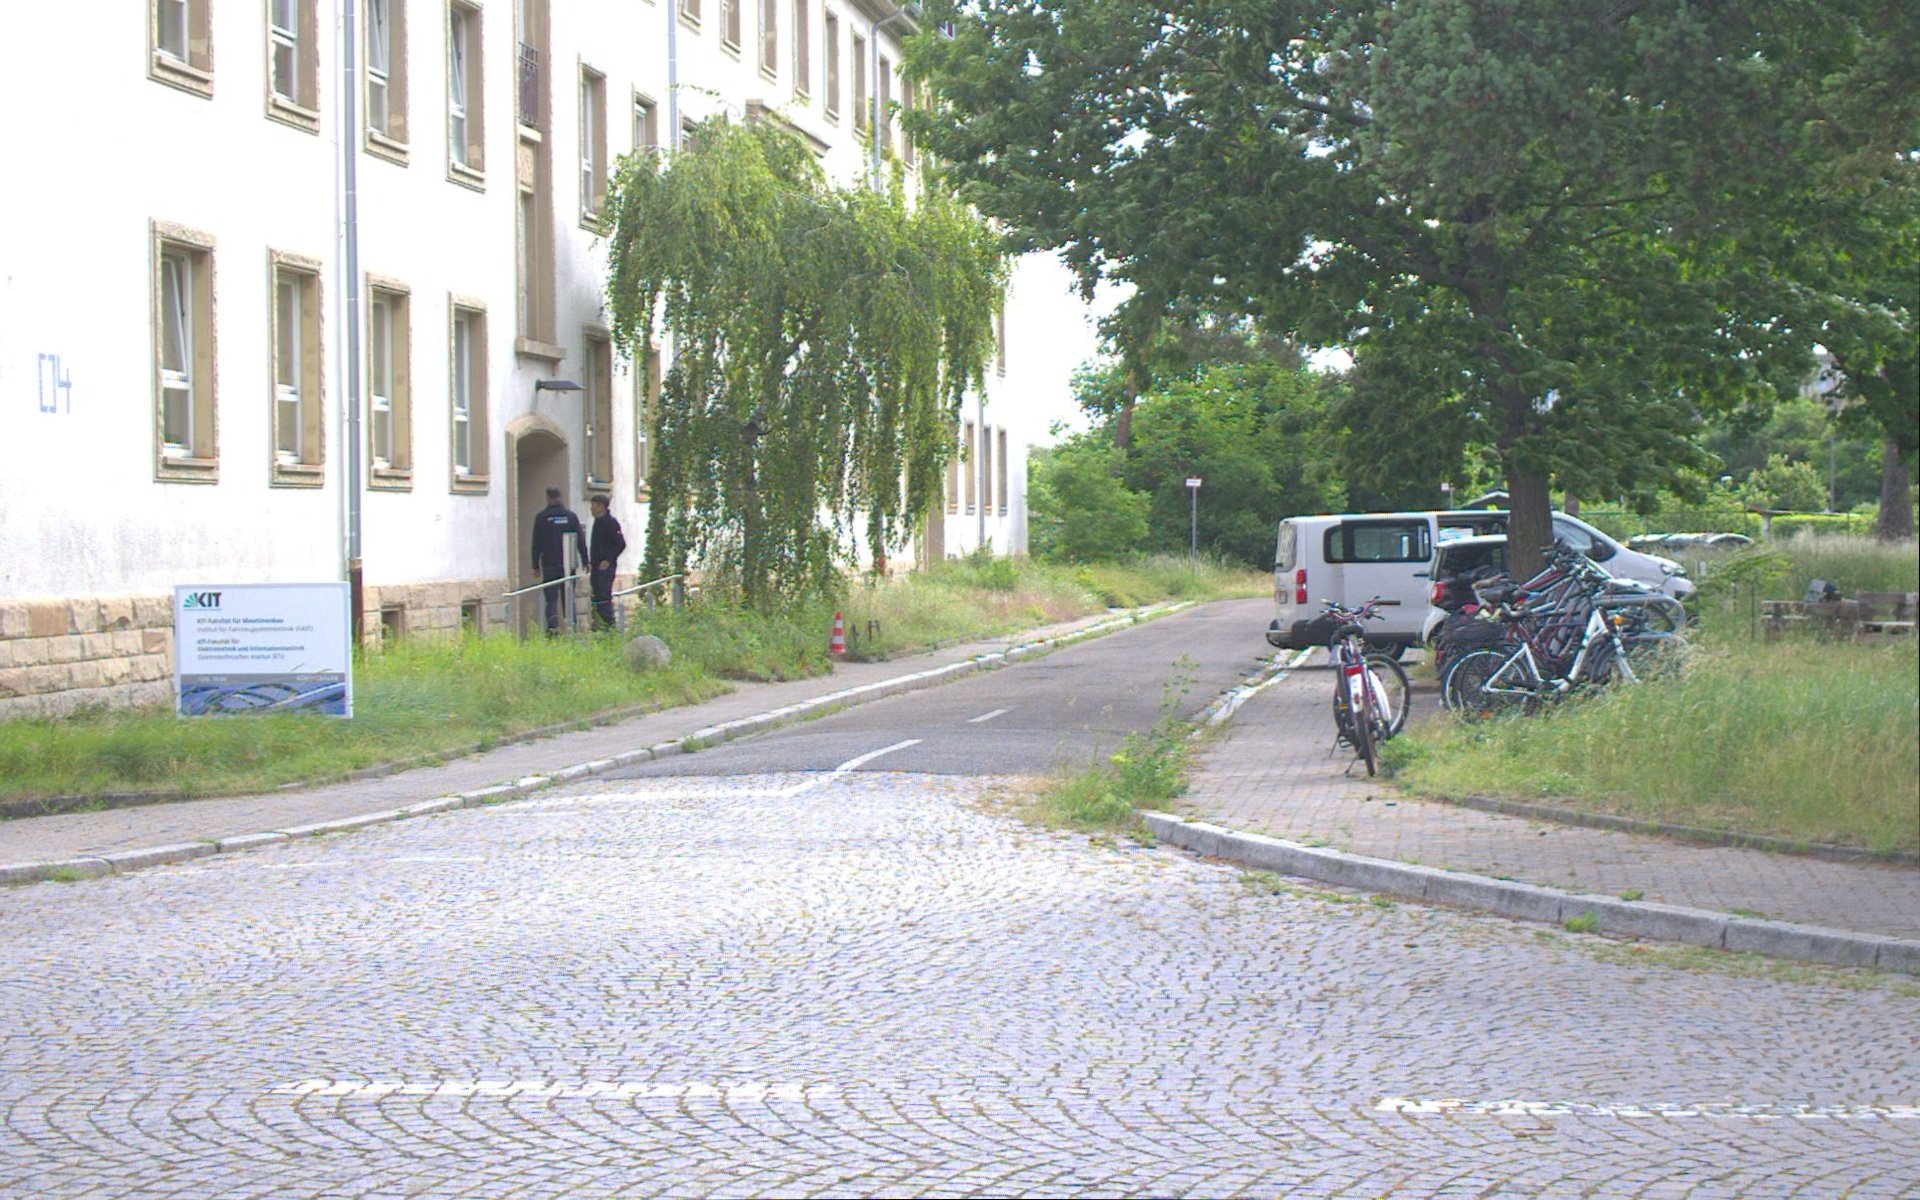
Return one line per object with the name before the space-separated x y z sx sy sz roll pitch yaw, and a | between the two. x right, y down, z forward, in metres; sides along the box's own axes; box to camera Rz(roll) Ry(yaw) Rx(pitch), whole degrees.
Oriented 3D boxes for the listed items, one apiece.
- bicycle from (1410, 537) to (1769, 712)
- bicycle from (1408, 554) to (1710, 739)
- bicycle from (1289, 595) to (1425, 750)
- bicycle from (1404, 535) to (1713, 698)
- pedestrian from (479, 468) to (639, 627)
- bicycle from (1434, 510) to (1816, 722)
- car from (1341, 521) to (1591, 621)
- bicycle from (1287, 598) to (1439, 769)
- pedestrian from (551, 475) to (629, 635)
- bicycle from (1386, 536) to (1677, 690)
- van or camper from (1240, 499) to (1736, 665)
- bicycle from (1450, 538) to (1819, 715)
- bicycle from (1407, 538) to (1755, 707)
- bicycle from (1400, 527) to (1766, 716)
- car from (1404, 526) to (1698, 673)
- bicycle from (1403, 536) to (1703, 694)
bicycle | 5.049 0.191 27.754 2.803 1.367 0.950 0 1 8
bicycle | 4.312 0.331 24.887 2.113 1.302 0.874 0 1 8
bicycle | 2.767 0.479 23.818 0.728 0.993 1.978 0 1 13
bicycle | 5.127 0.137 29.618 2.568 1.367 0.950 0 1 7
pedestrian | -4.801 -0.626 41.135 1.545 1.863 1.198 0 1 -30
bicycle | 5.044 0.117 26.272 2.803 1.578 0.950 0 1 8
car | 8.290 -0.481 56.574 3.988 1.594 1.703 0 1 6
bicycle | 2.556 0.505 21.735 0.901 0.993 1.978 0 1 7
pedestrian | -4.527 -0.555 42.135 0.865 1.925 0.837 1 1 -3
bicycle | 5.180 0.114 31.306 2.568 1.367 0.950 0 1 7
van or camper | 6.508 -0.244 42.820 5.740 1.950 2.238 -1 1 -4
bicycle | 5.299 0.202 27.177 2.803 1.367 0.950 0 1 8
bicycle | 5.141 0.180 28.643 2.803 1.367 0.950 0 1 8
bicycle | 4.583 0.151 25.462 2.620 1.362 0.874 0 1 8
car | 6.751 -0.022 39.584 3.225 1.615 1.937 1 1 7
bicycle | 5.228 0.127 30.452 2.568 1.367 0.950 0 1 7
